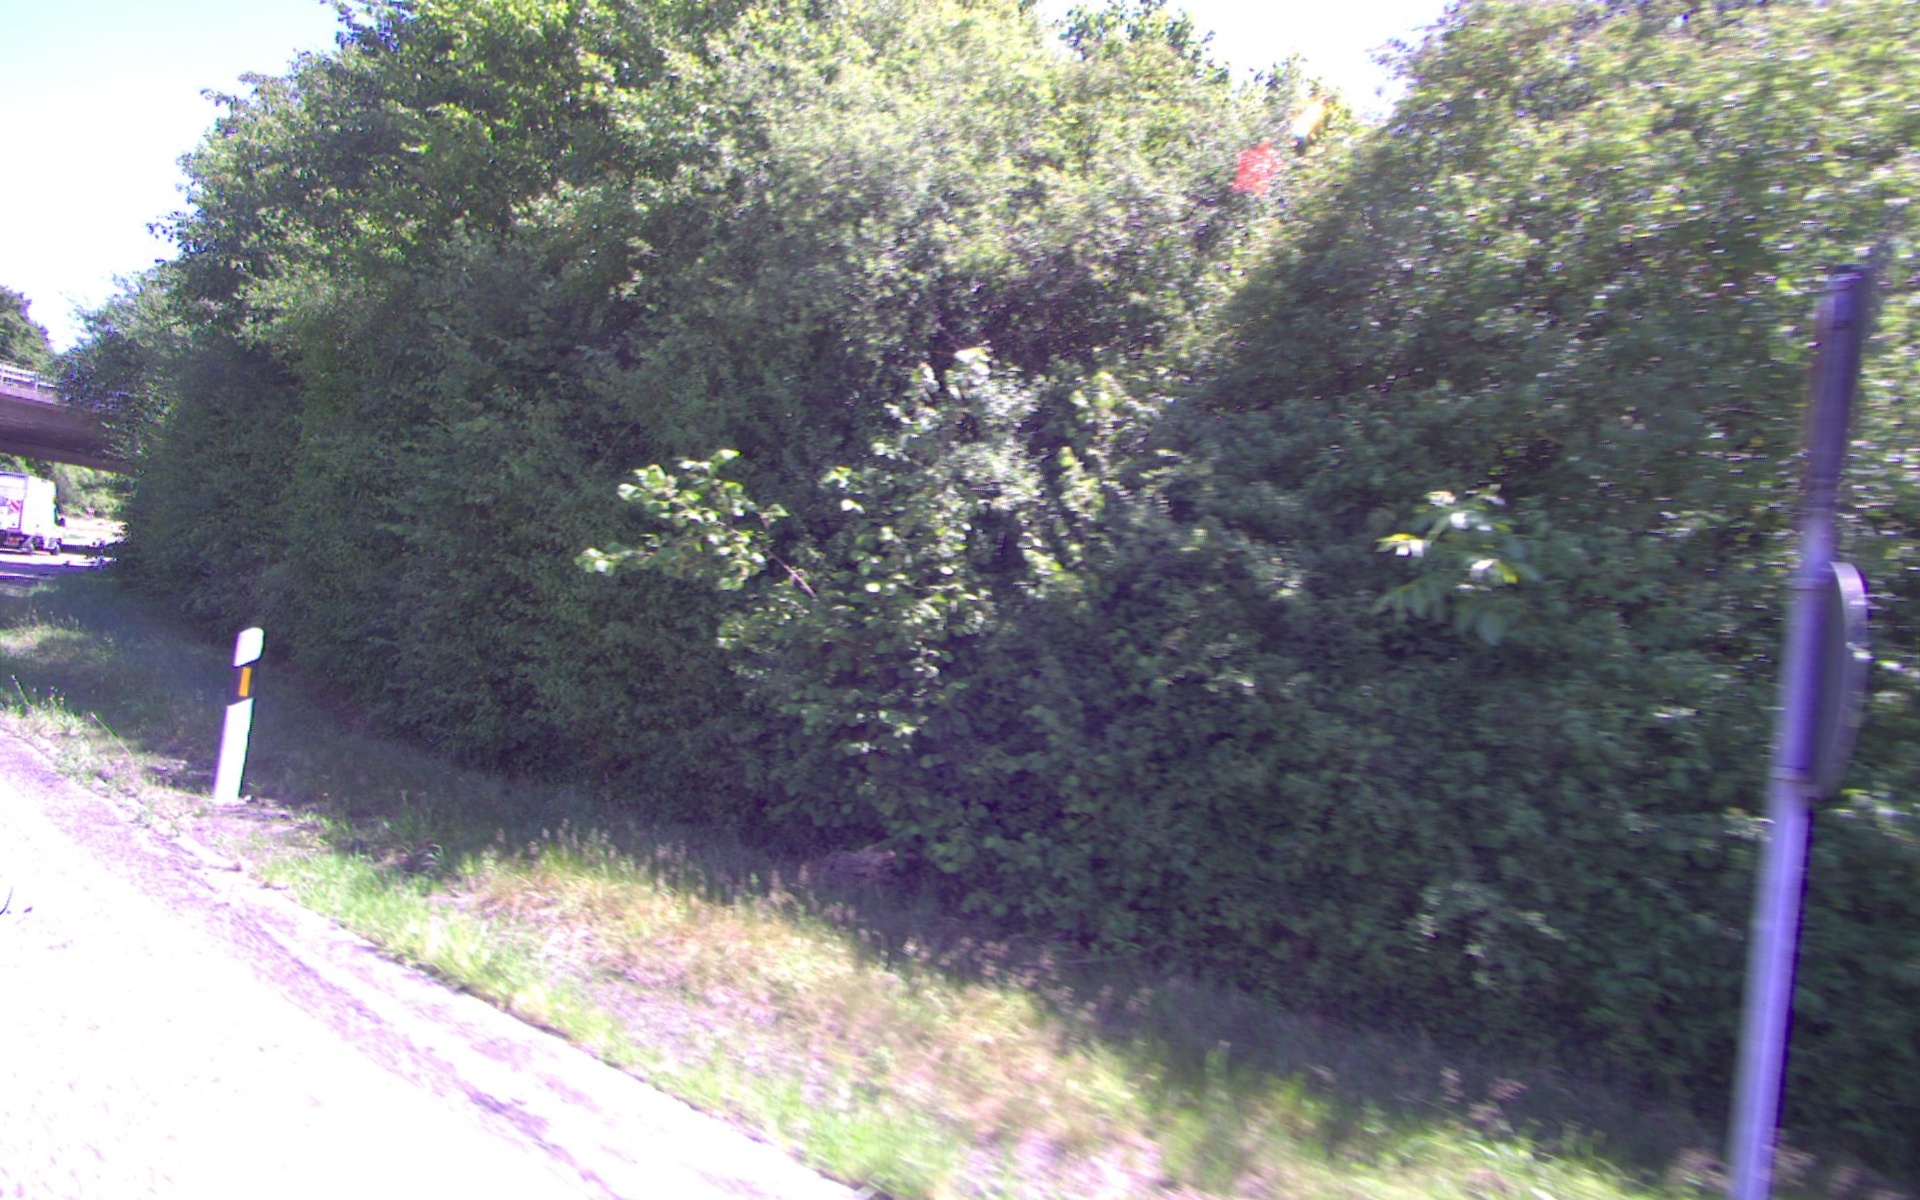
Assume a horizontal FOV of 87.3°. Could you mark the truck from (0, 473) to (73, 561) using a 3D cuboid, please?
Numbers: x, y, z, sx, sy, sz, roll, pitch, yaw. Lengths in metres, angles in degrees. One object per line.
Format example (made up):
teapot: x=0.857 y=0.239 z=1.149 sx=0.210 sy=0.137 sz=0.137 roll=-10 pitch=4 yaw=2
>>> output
truck: x=-36.324 y=-3.171 z=38.458 sx=2.223 sy=3.019 sz=5.852 roll=7 pitch=-2 yaw=-30
